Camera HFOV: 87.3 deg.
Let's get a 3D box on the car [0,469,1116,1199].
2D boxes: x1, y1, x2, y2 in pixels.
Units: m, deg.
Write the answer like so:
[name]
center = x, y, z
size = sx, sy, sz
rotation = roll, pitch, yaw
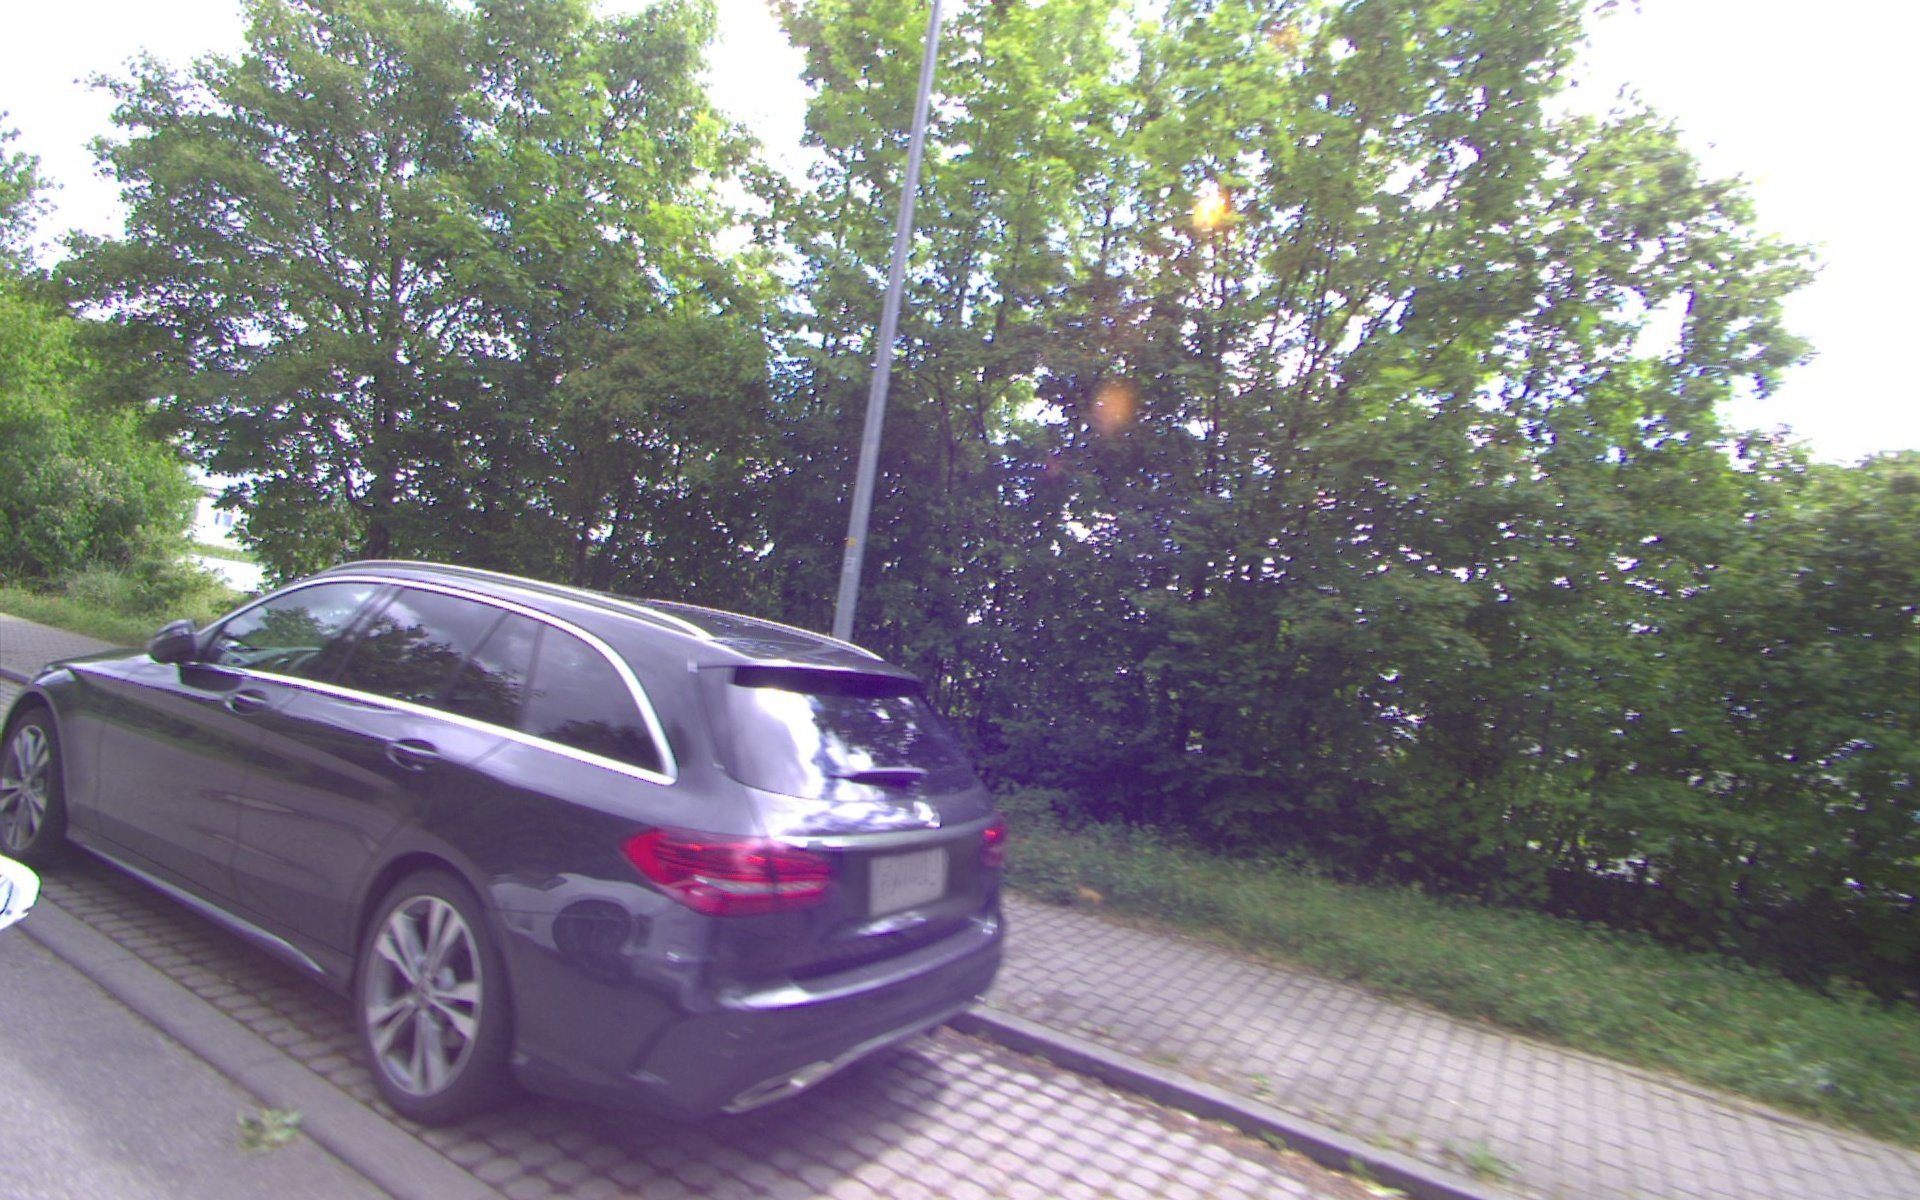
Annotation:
[car]
center = -1.907, 0.557, 4.027
size = 4.470, 1.546, 1.898
rotation = 7, -3, 32
